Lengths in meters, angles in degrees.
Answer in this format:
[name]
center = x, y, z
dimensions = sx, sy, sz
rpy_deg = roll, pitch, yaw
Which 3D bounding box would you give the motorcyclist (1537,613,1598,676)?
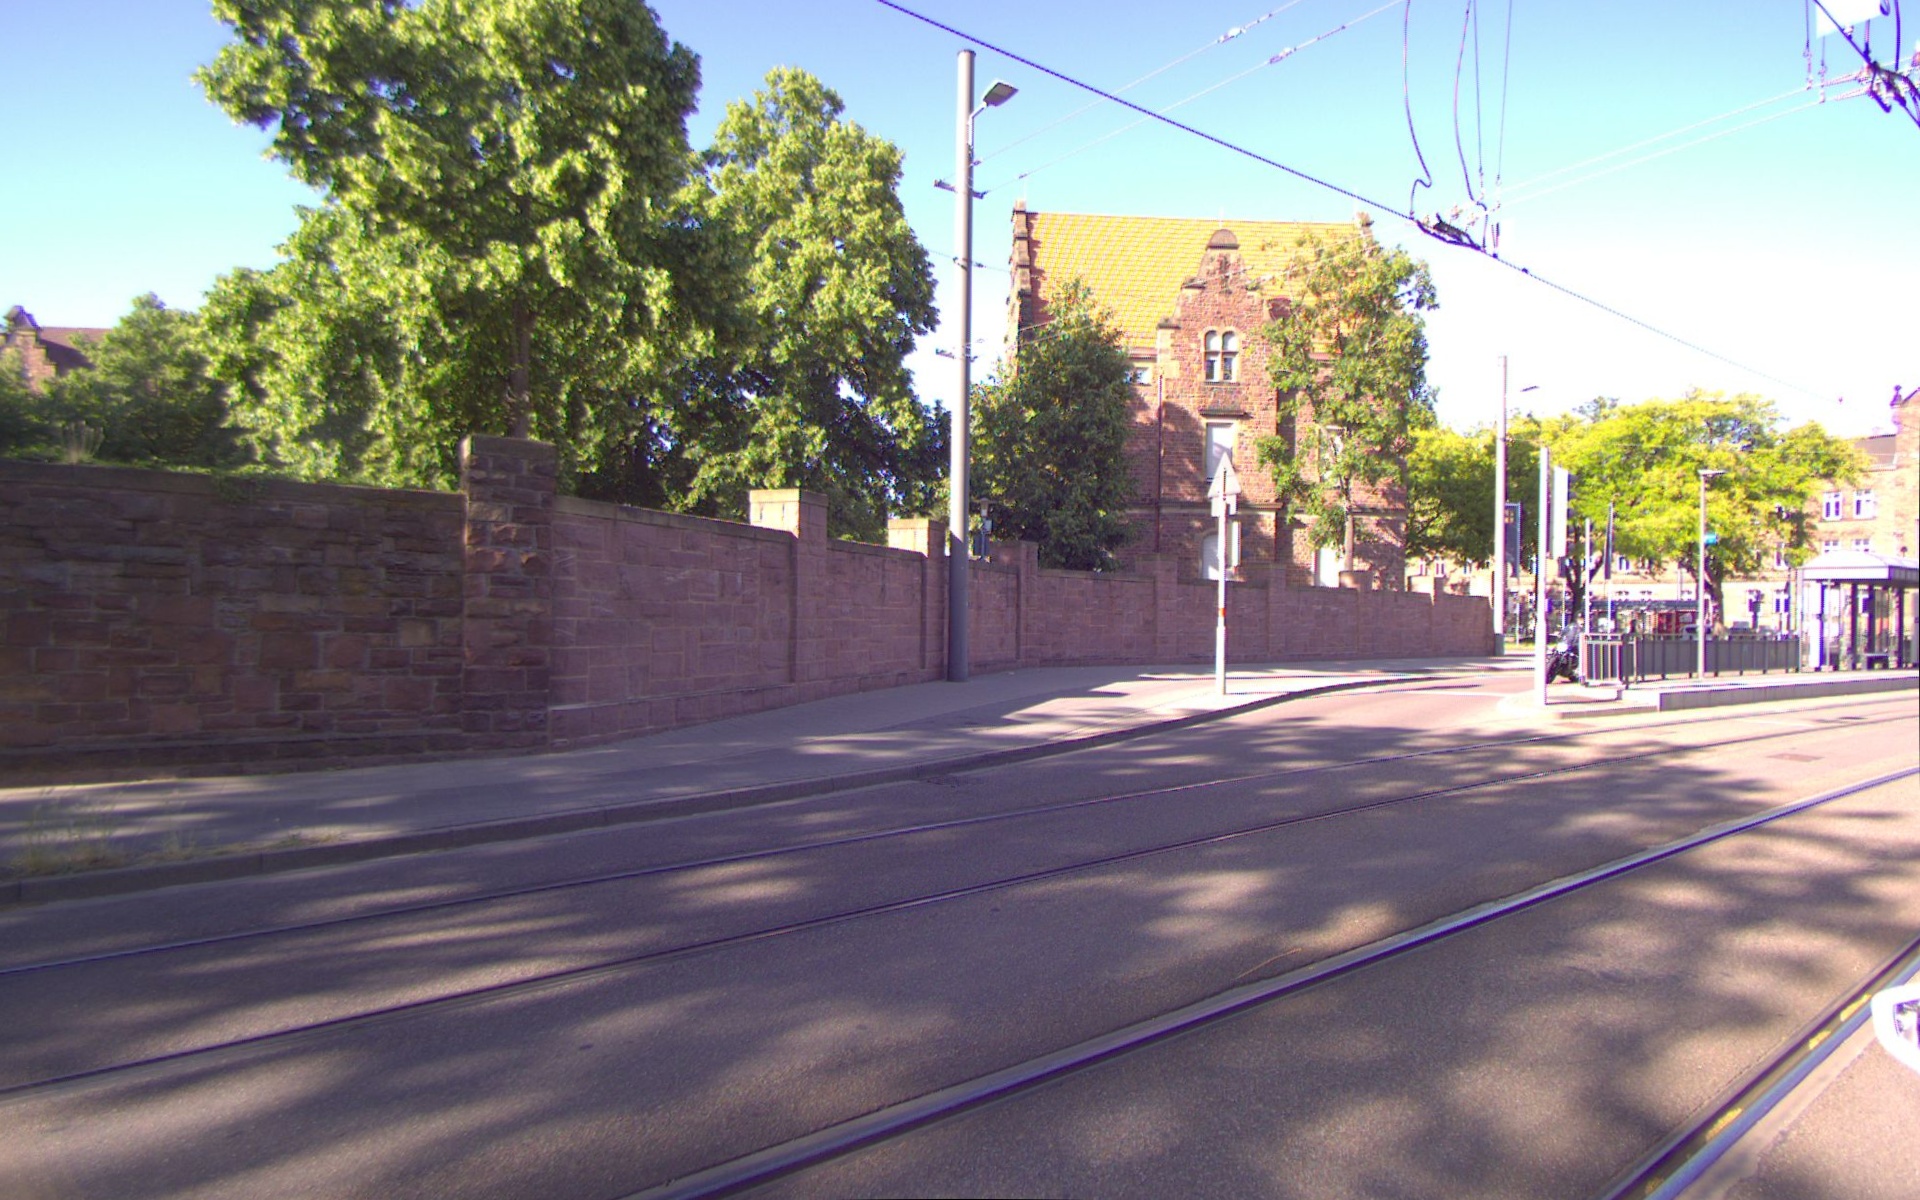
[motorcyclist]
center = 13.917, 1.009, 23.009
dimensions = 0.899, 1.401, 0.883
rpy_deg = 1, 0, -34

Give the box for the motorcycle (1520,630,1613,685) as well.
[motorcycle]
center = 13.920, 1.296, 23.015
dimensions = 2.404, 1.169, 0.906
rpy_deg = 1, -1, -34
